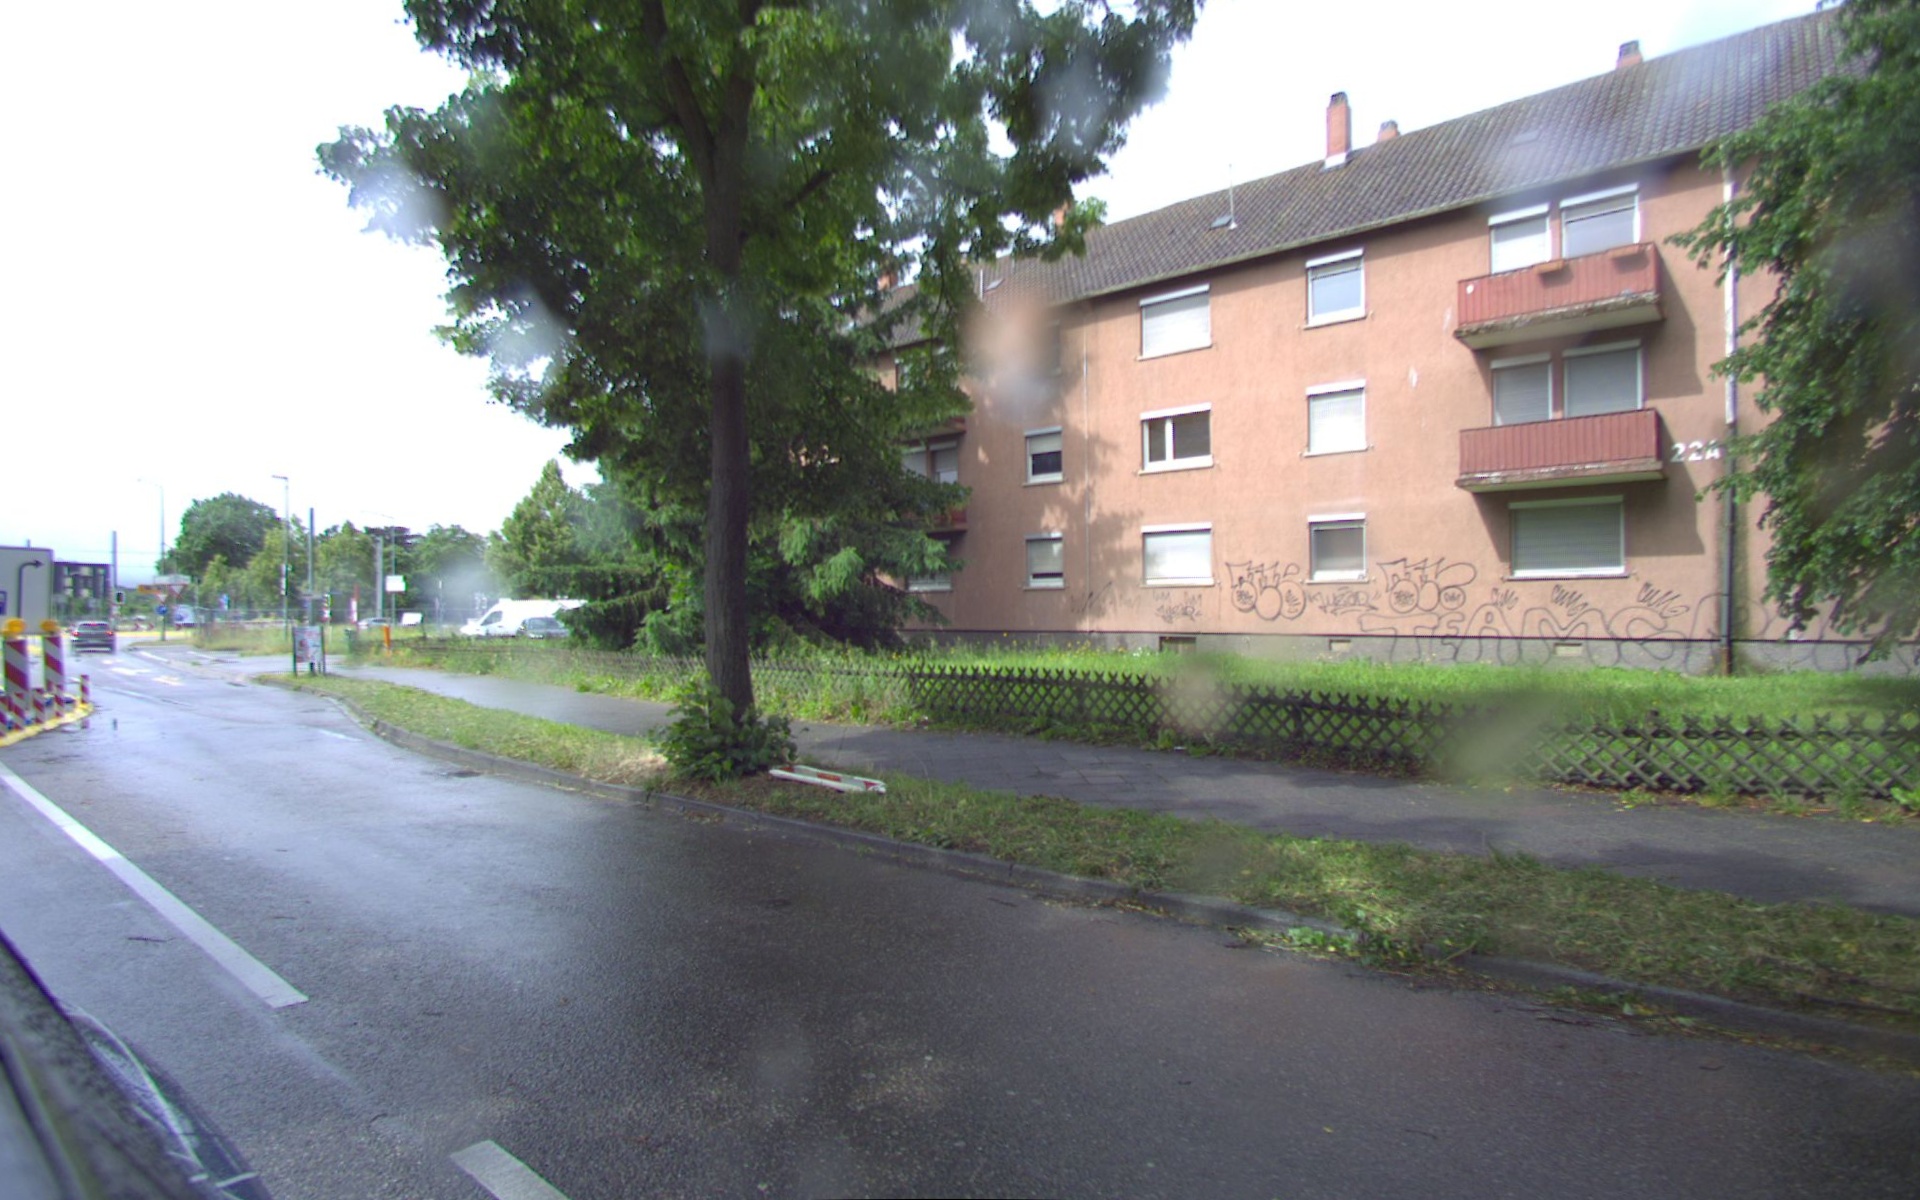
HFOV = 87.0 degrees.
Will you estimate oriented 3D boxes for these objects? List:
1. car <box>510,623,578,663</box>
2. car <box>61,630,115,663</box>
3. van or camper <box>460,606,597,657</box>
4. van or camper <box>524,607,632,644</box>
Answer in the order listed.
[{"bbox_3d":[-18.688,1.891,45.322,1.731,1.630,4.336,0,-1,-38],"label":"car"},{"bbox_3d":[-42.319,2.251,49.072,3.794,1.519,1.661,-2,-2,44],"label":"car"},{"bbox_3d":[-23.923,1.736,56.469,6.863,2.667,2.519,0,-1,-18],"label":"van or camper"},{"bbox_3d":[-24.092,1.613,64.157,6.289,2.205,2.447,0,-1,-18],"label":"van or camper"}]
